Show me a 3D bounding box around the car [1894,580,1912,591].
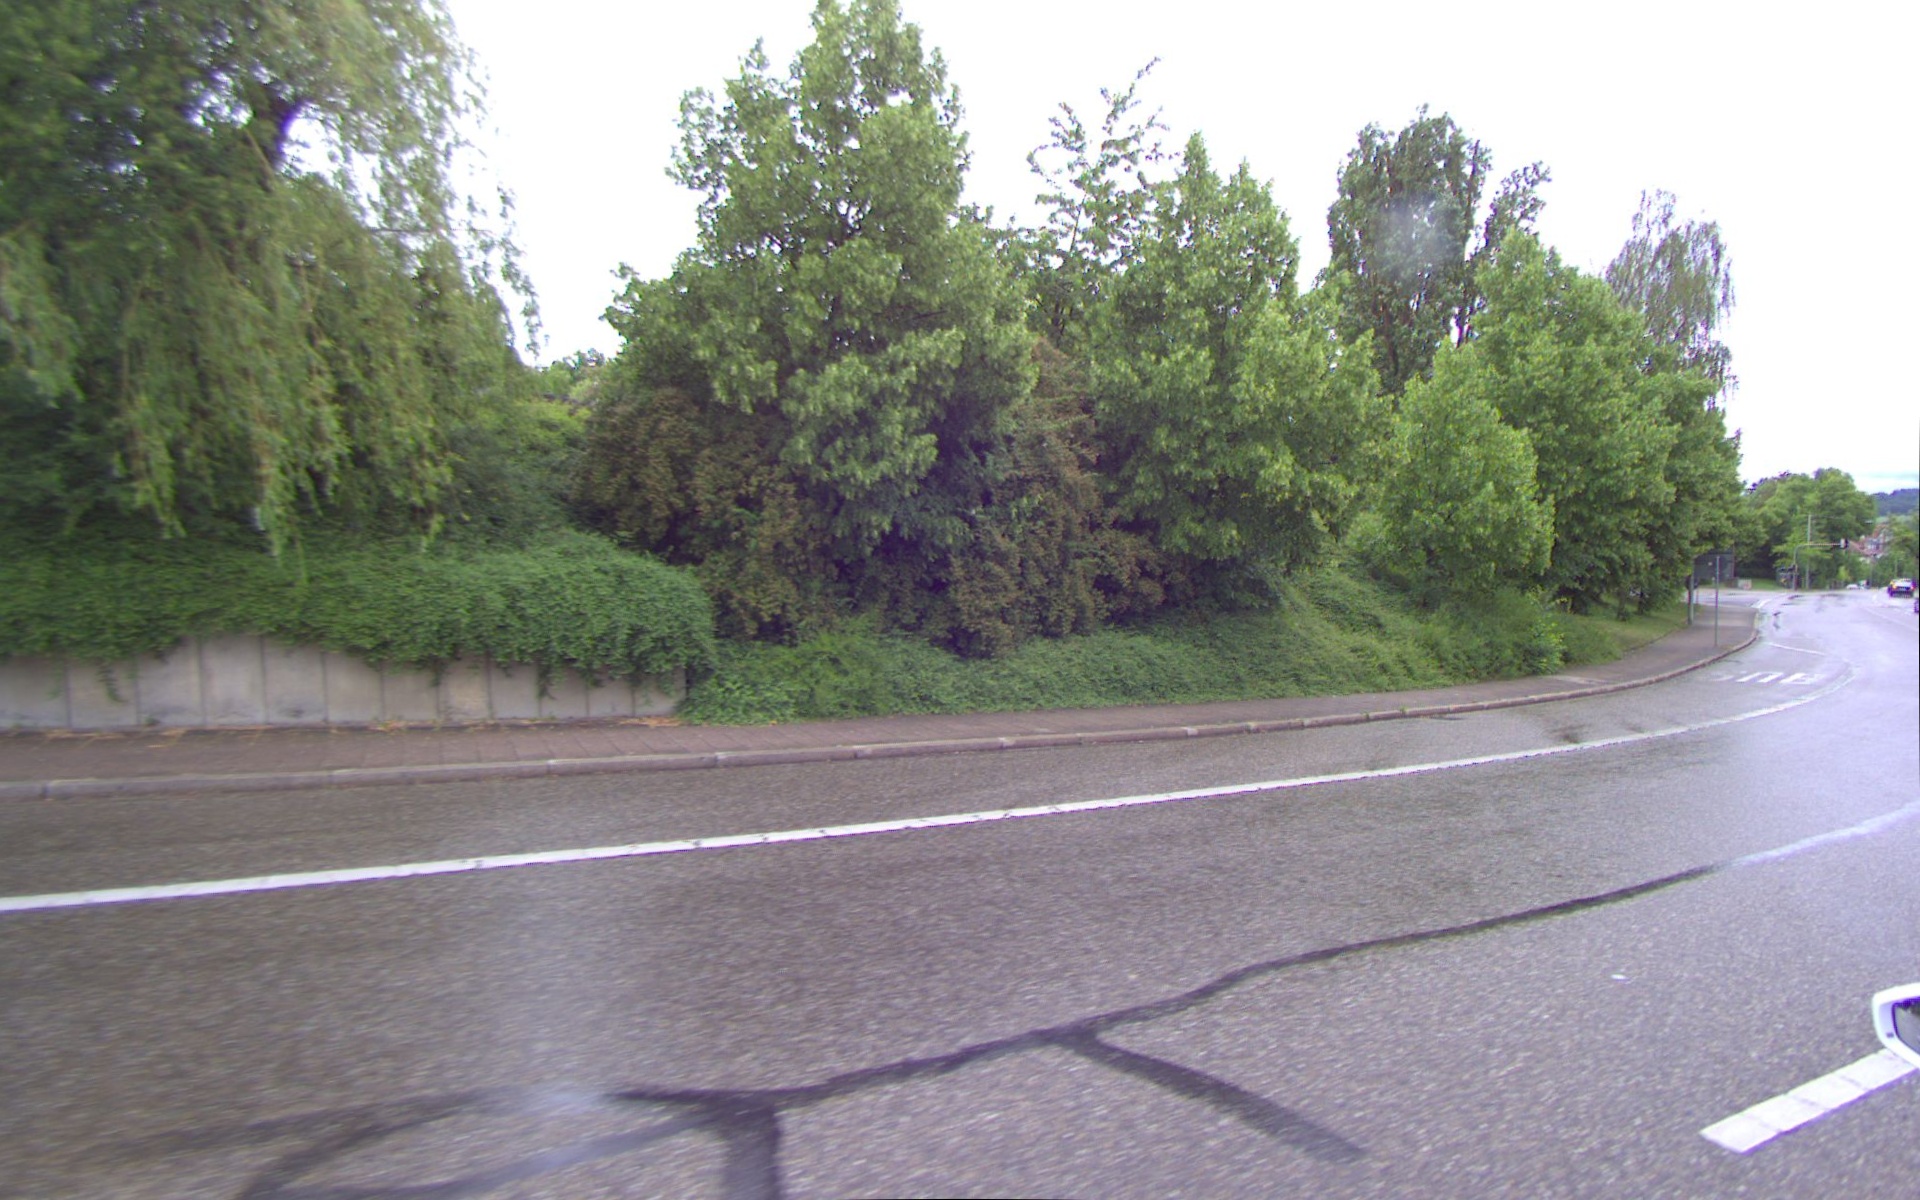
[{"bbox_3d":[140.841,-2.162,150.019,1.702,1.484,3.978,6,5,42],"label":"car"}]

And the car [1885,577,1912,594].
[{"bbox_3d":[89.168,-1.375,95.477,1.702,1.484,3.978,6,5,42],"label":"car"}]

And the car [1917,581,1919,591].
[{"bbox_3d":[148.029,-2.134,154.102,1.703,1.484,3.975,1,2,44],"label":"car"}]

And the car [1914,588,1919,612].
[{"bbox_3d":[62.016,0.027,63.873,1.702,1.484,3.978,6,5,42],"label":"car"}]
